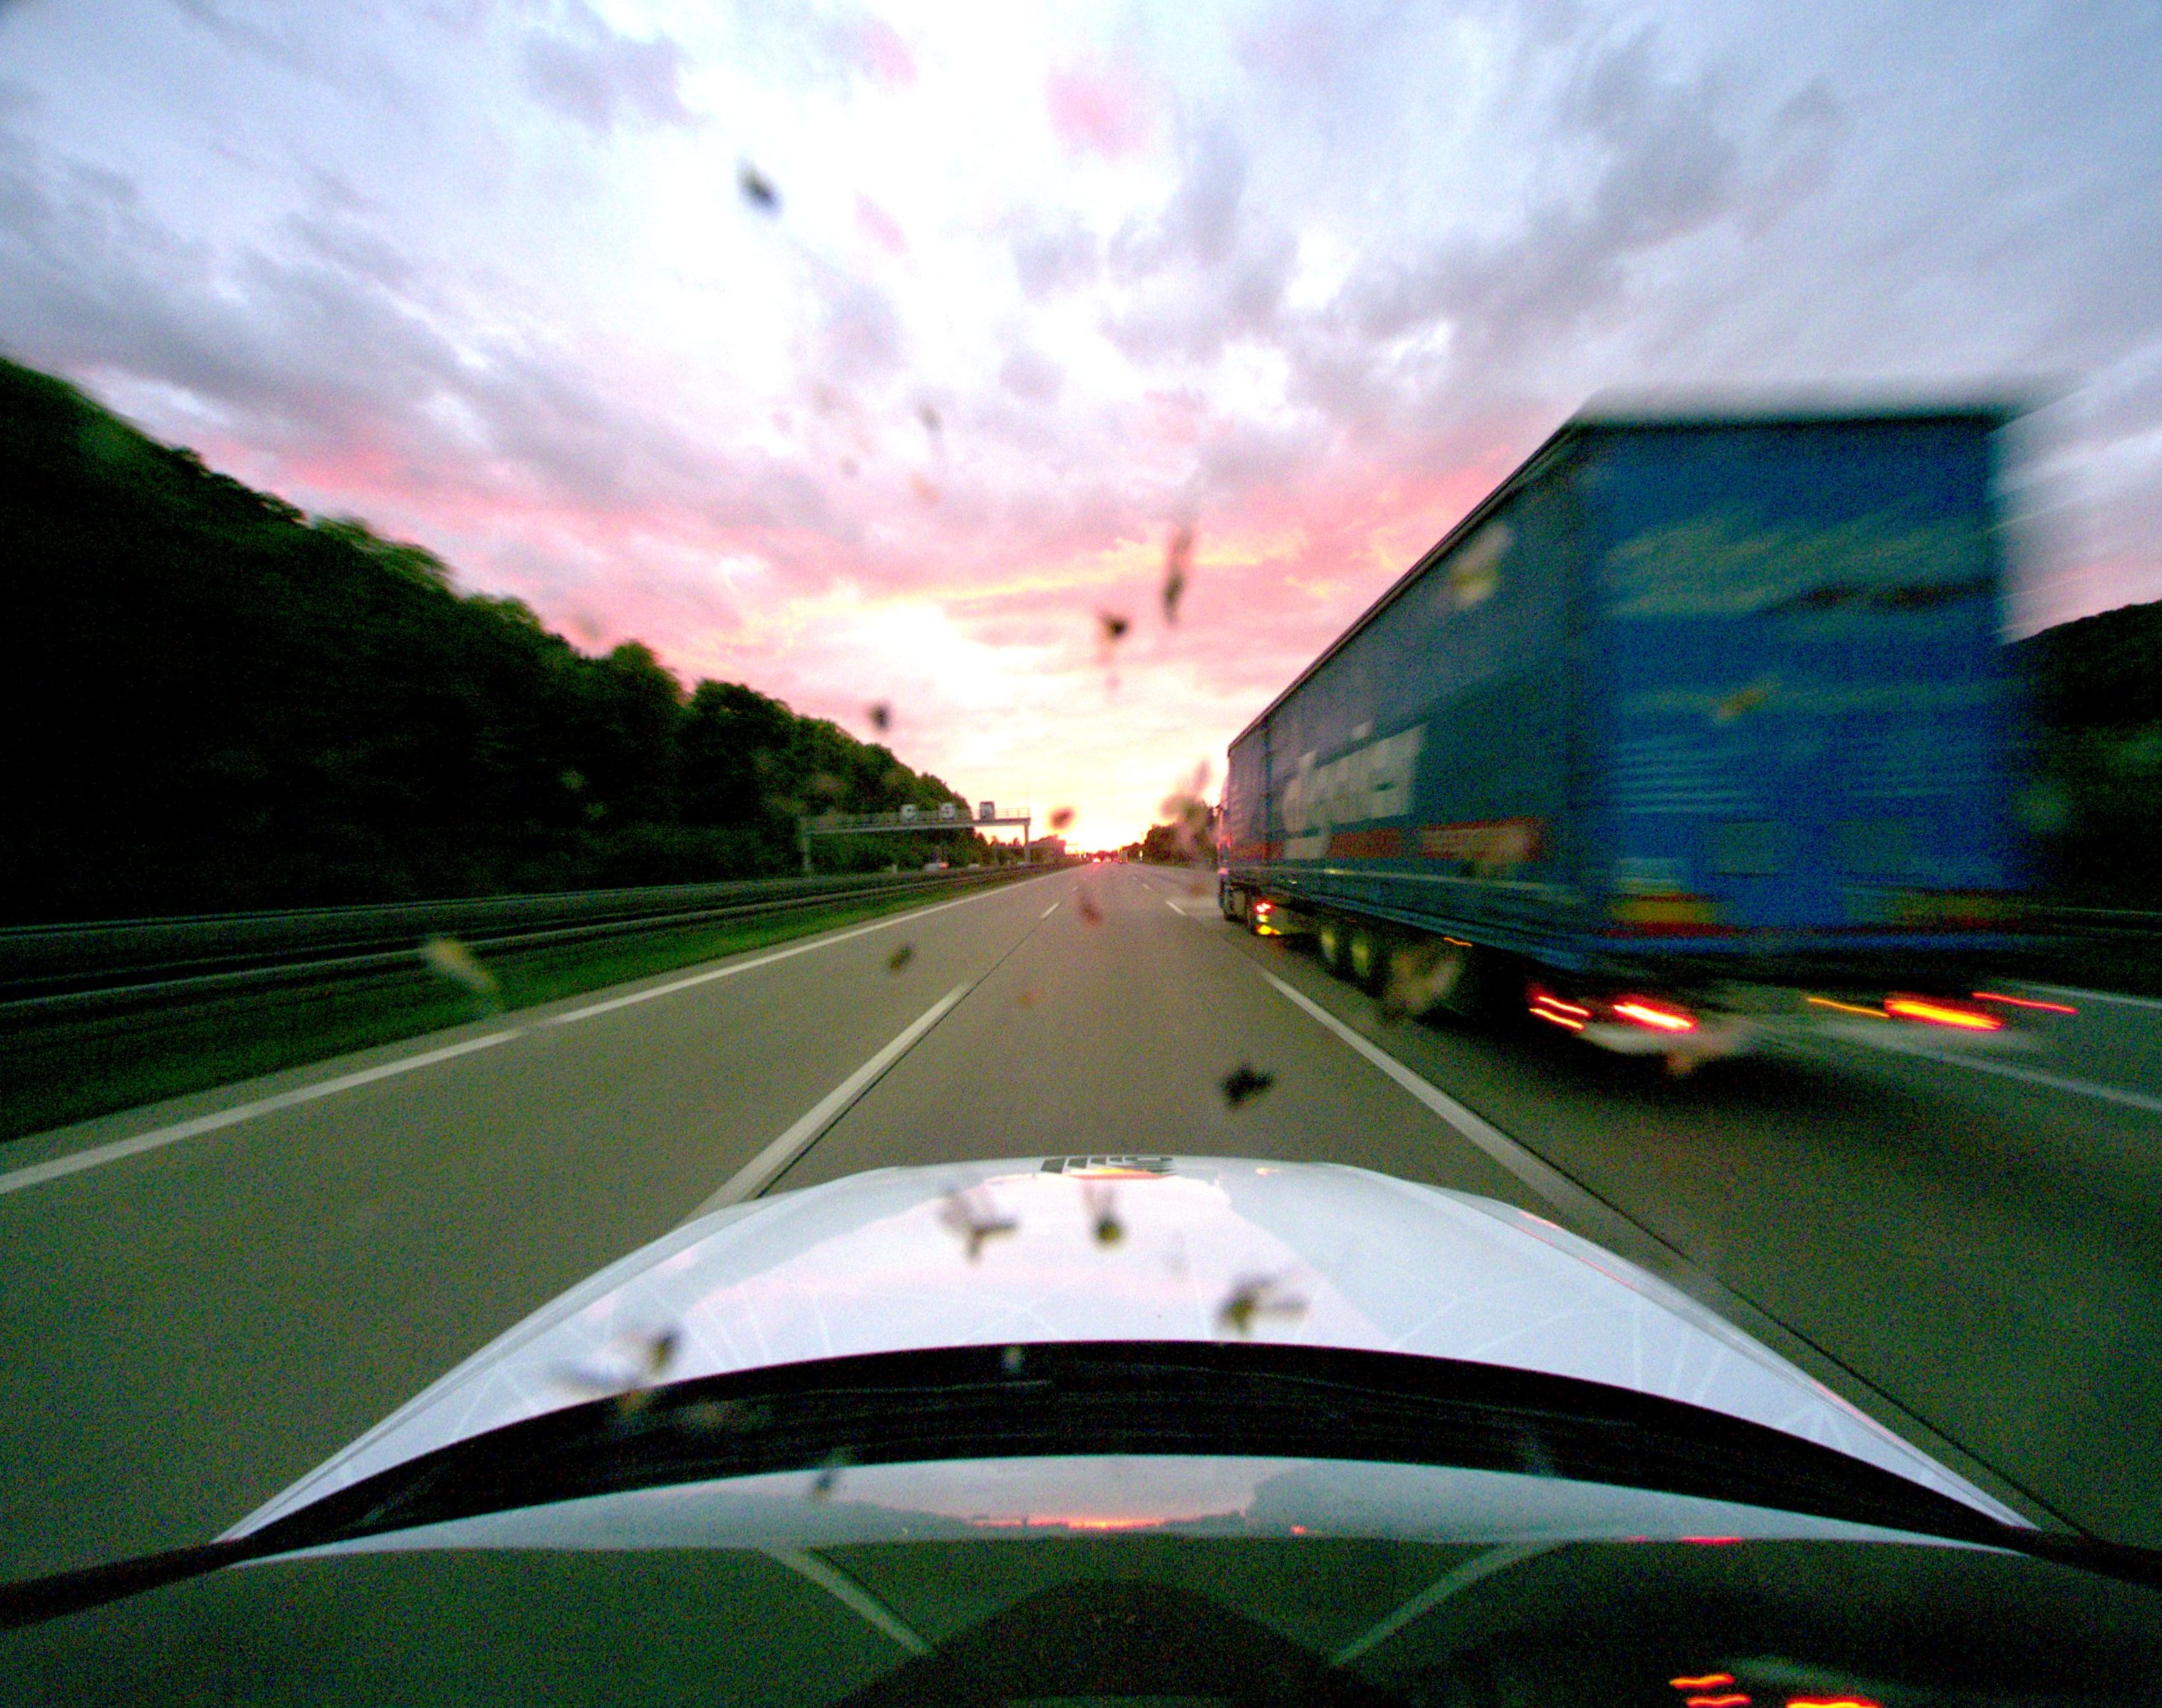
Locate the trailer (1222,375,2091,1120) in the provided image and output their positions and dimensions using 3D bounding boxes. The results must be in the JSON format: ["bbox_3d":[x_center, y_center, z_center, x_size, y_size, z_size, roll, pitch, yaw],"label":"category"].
[{"bbox_3d":[4.357,-0.526,11.385,2.761,4.086,13.744,-1,-1,2],"label":"trailer"}]

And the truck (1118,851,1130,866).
[{"bbox_3d":[12.584,1.299,239.258,3.231,4.127,9.792,-2,-1,3],"label":"truck"}]

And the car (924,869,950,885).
[{"bbox_3d":[-16.885,2.637,95.644,1.841,1.734,5.664,-2,-1,2],"label":"car"}]

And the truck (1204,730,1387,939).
[{"bbox_3d":[4.590,-0.349,18.673,2.726,3.996,5.851,-1,-1,1],"label":"truck"}]
